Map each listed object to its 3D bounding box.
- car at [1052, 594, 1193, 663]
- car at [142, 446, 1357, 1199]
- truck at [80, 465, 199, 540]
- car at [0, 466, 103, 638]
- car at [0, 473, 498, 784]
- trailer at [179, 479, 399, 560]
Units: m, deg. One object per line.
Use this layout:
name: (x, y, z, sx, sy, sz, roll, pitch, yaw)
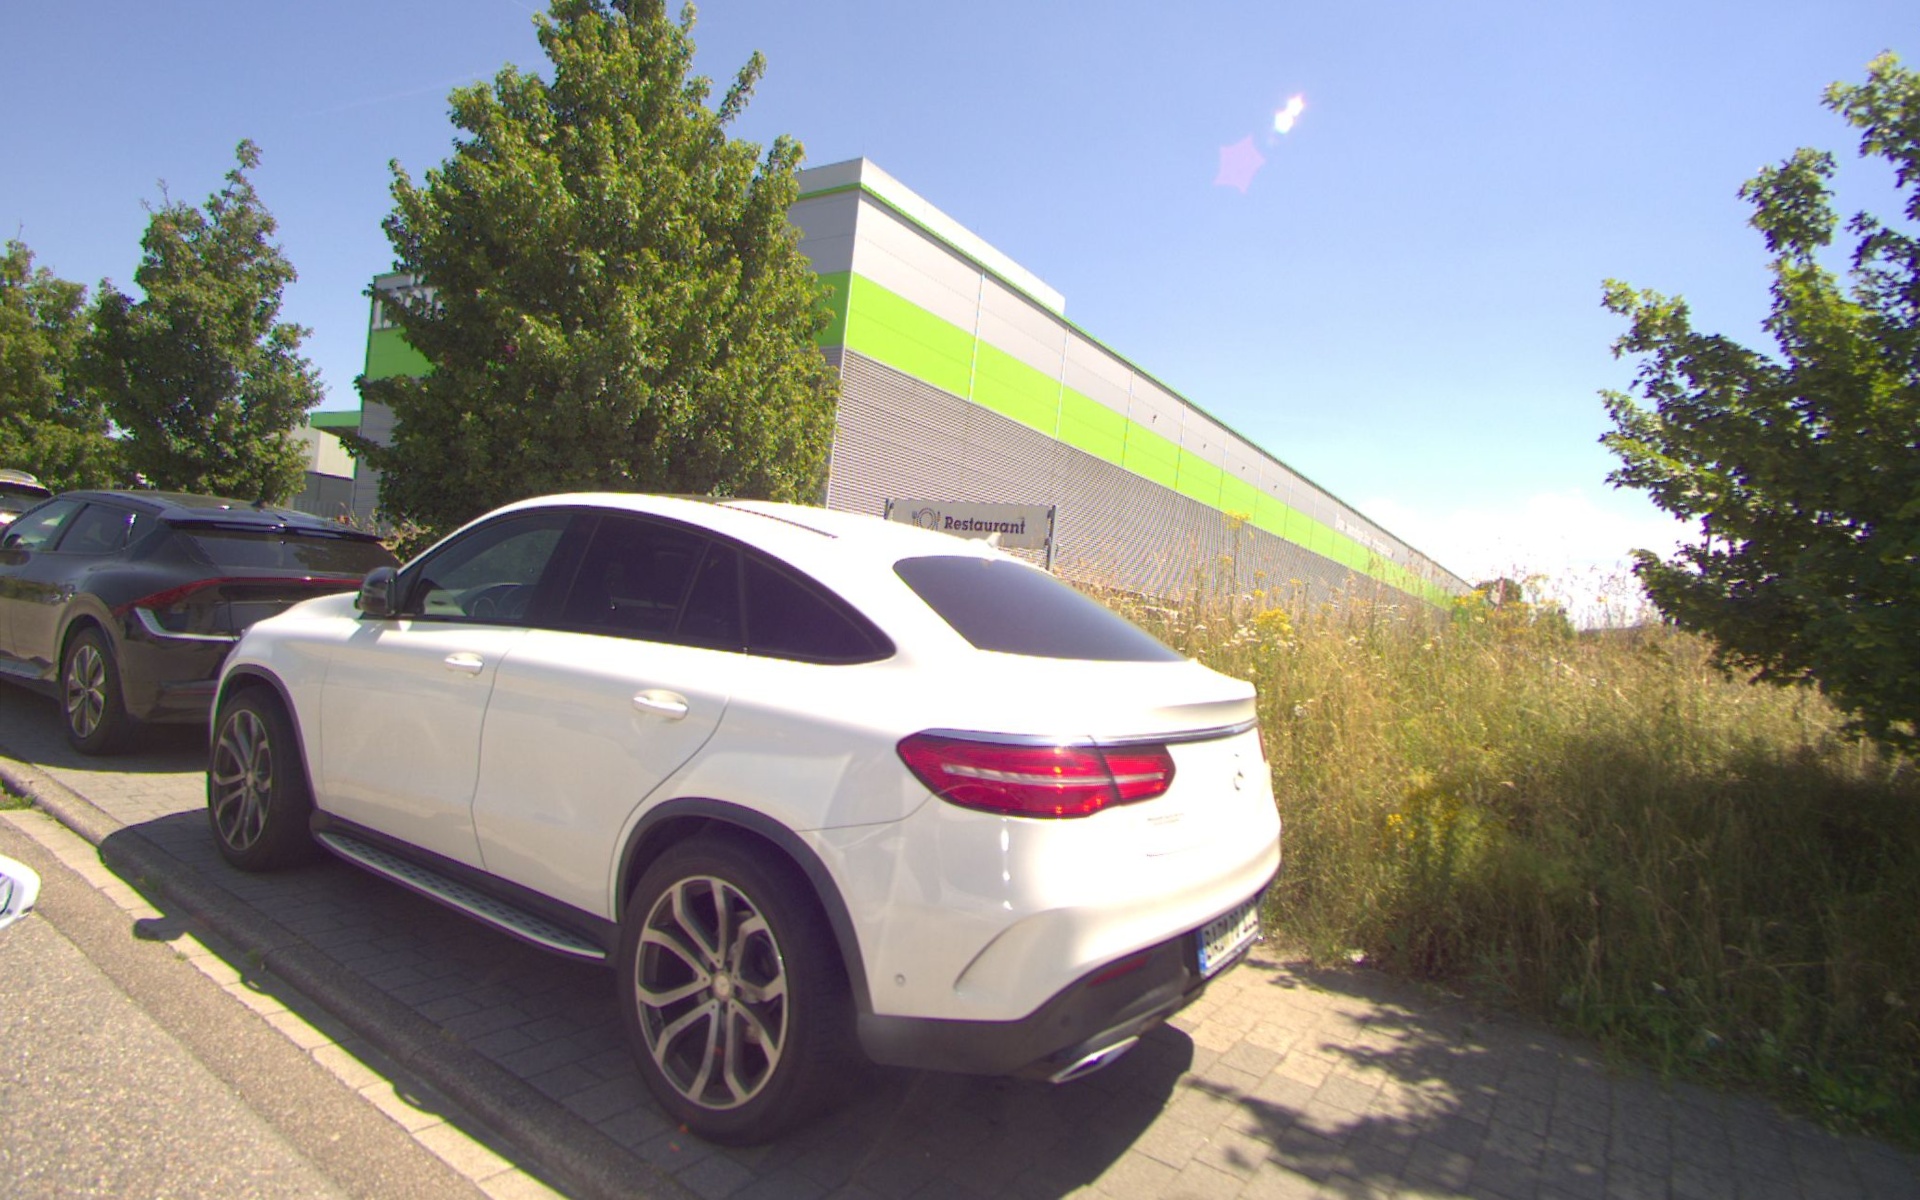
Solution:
car: (5.753, 1.012, 35.746, 4.330, 1.810, 1.993, 8, 2, 34)
car: (-1.156, 0.423, 4.139, 4.709, 1.721, 2.143, 7, 2, 34)
truck: (-51.799, -6.091, 63.631, 2.760, 3.923, 5.064, 5, 0, 35)
car: (-11.136, -0.670, 10.813, 4.387, 1.657, 1.804, 7, 2, 34)
car: (-5.617, 0.000, 7.199, 4.552, 1.549, 1.905, 6, 2, 31)
trailer: (-46.820, -5.478, 70.898, 2.760, 3.923, 12.622, 5, -1, 35)
